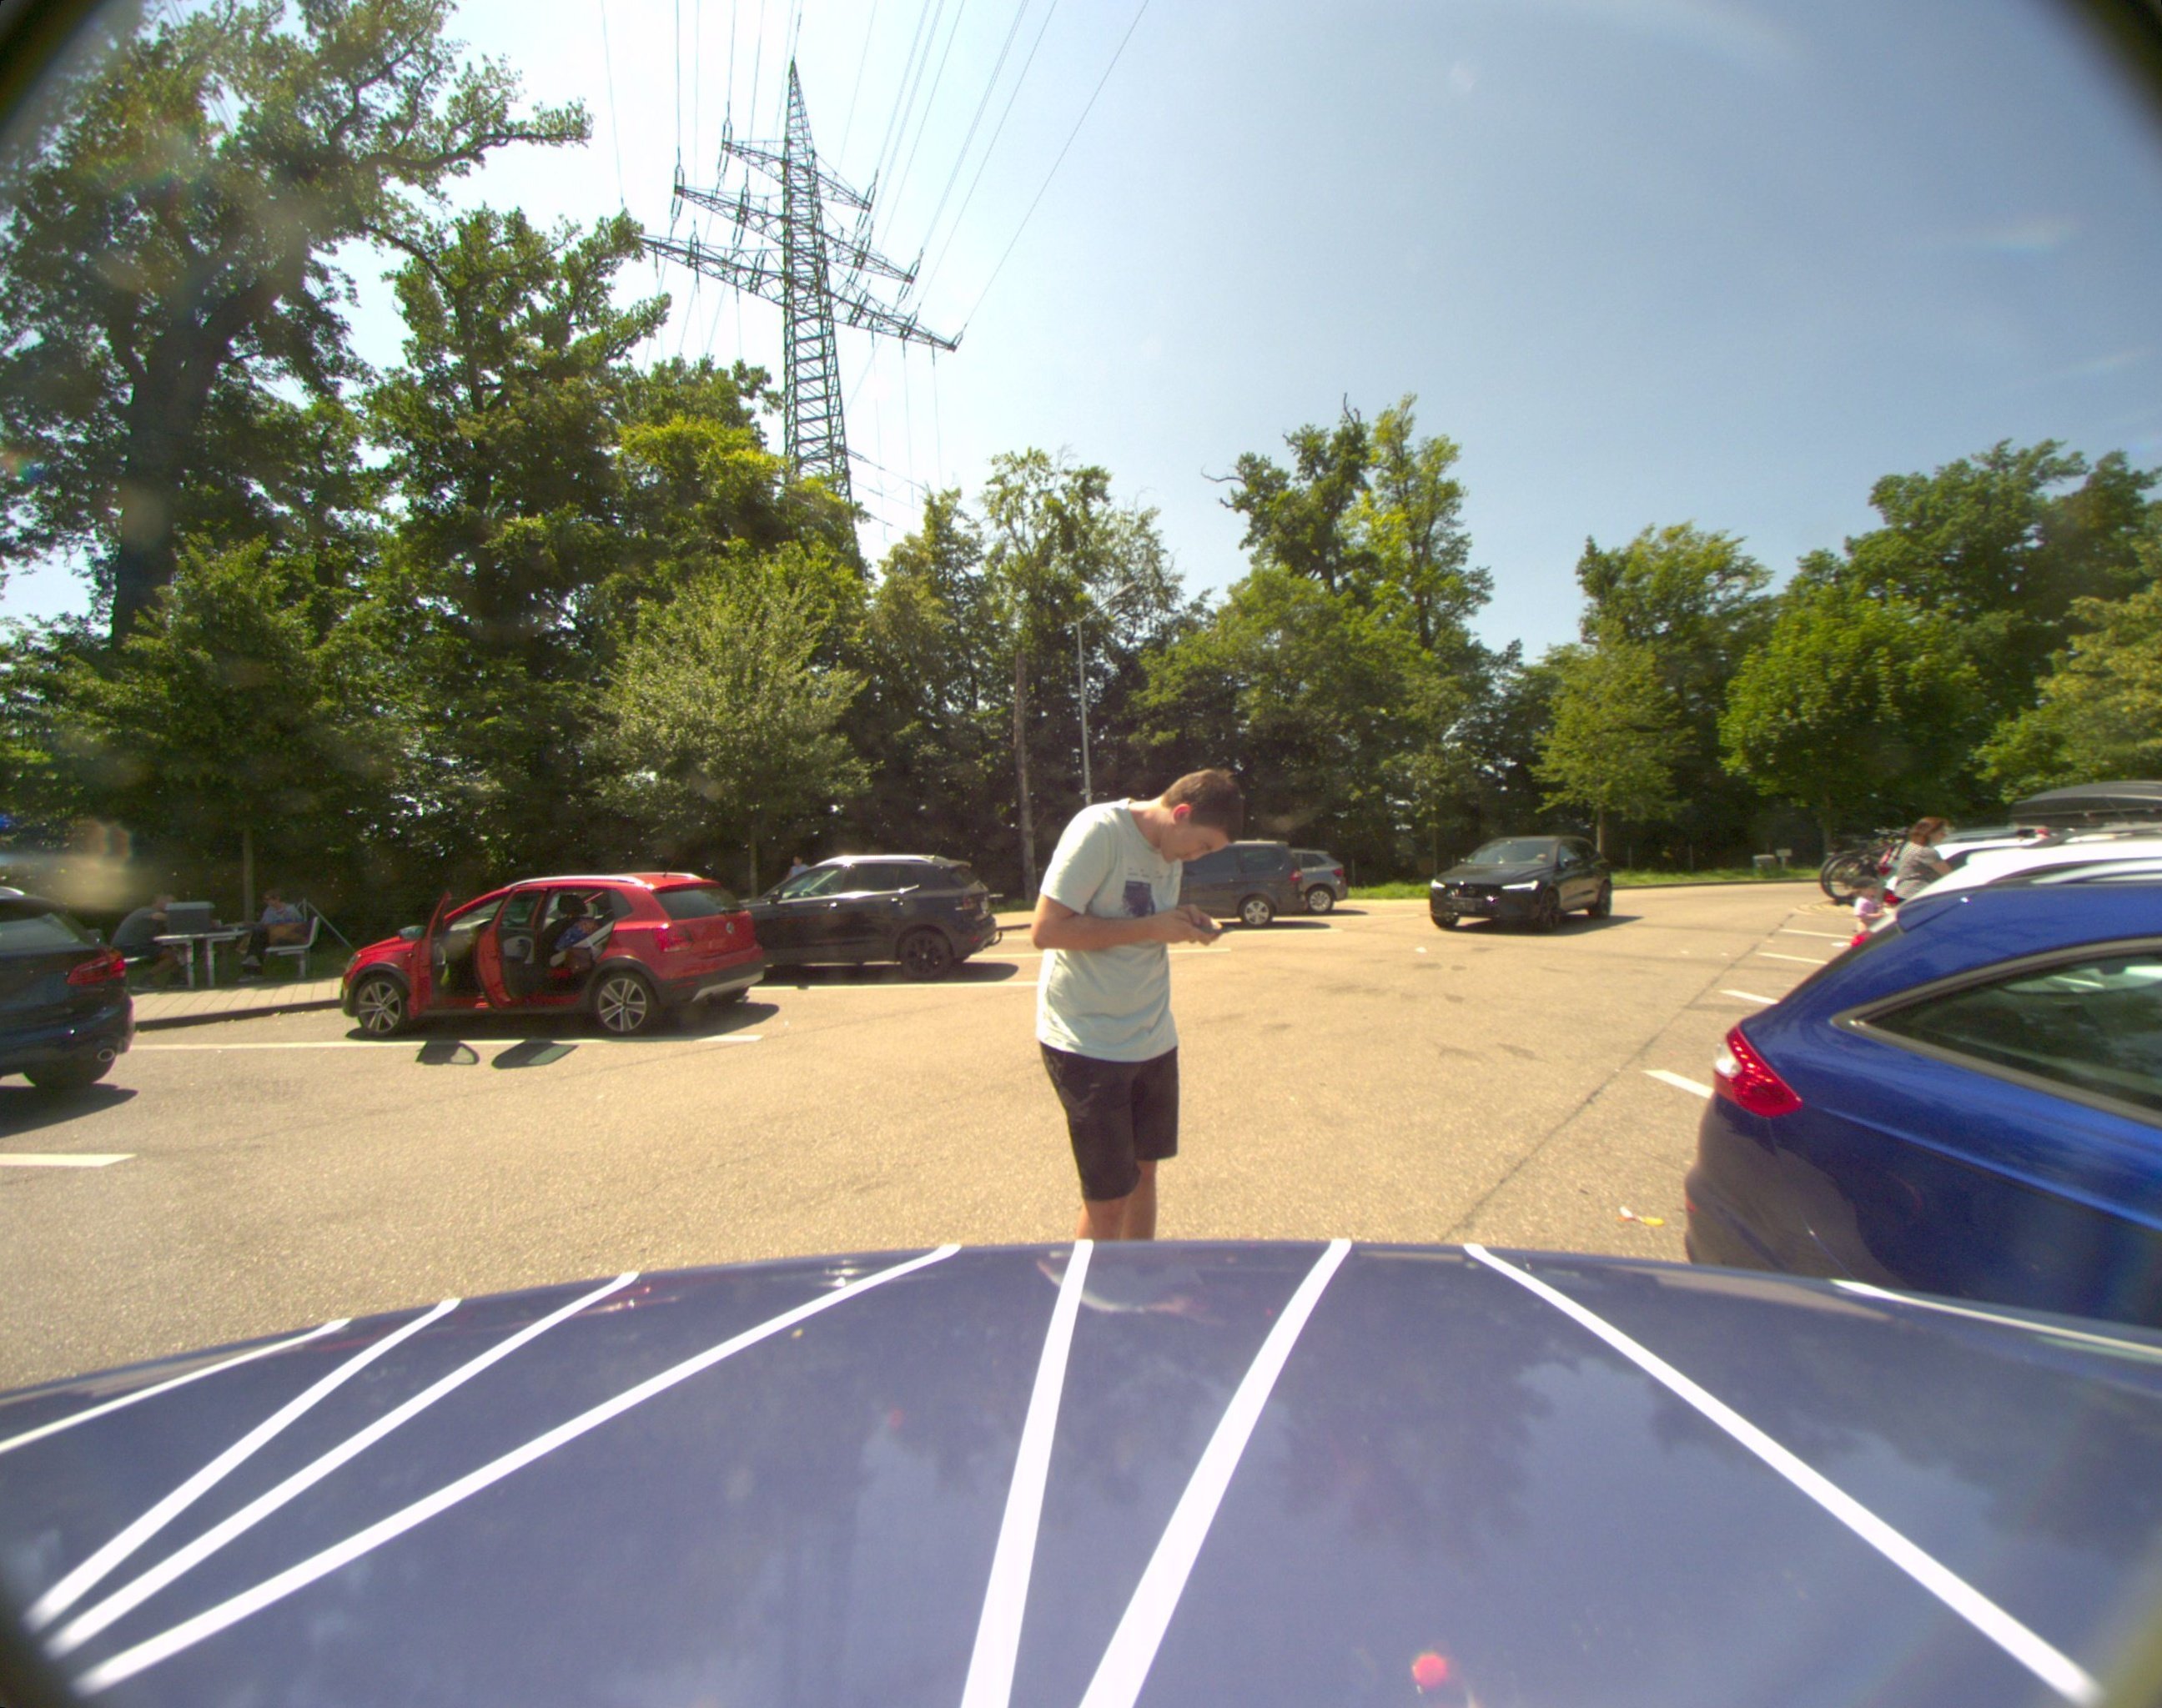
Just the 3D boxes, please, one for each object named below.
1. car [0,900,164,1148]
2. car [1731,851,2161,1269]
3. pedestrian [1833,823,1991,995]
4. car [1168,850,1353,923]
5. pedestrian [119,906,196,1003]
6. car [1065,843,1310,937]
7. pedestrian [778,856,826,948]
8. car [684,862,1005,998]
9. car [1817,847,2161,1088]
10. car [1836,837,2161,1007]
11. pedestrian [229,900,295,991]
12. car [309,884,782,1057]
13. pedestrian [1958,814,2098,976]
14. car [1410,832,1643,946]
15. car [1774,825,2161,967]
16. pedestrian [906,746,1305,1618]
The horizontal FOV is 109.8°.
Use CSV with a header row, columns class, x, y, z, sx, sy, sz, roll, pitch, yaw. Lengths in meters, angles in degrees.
class,x,y,z,sx,sy,sz,roll,pitch,yaw
car,-8.891,1.168,4.971,3.934,1.534,1.812,-2,0,7
car,4.867,0.741,2.337,1.776,1.491,4.495,-3,-1,-1
pedestrian,8.513,0.534,7.816,0.676,1.653,0.833,-2,0,-7
car,4.134,0.744,17.992,3.996,1.495,1.687,-2,1,3
pedestrian,-12.639,1.348,10.417,0.695,1.228,0.588,-3,0,43
car,2.131,0.714,15.453,4.619,1.701,1.740,-2,0,9
pedestrian,-5.764,0.965,15.674,0.767,1.821,0.519,-3,1,-31
car,-3.040,0.952,10.295,3.732,1.578,1.739,-2,0,2
car,7.469,0.672,4.496,1.776,1.418,4.495,-3,-1,-1
car,10.102,0.568,6.883,1.777,1.418,4.493,-3,-1,-5
pedestrian,-11.958,1.314,11.106,0.695,1.228,0.588,-3,0,43
car,-5.196,1.095,7.617,3.730,1.440,1.591,-2,0,7
pedestrian,10.654,0.437,8.586,0.831,1.722,0.677,-2,1,37
car,8.322,0.521,14.046,4.625,1.703,1.995,-2,1,-36
car,12.533,0.474,10.355,1.777,1.541,4.493,-3,-1,-5
pedestrian,0.028,0.729,2.092,0.861,1.940,0.688,-2,1,-9
